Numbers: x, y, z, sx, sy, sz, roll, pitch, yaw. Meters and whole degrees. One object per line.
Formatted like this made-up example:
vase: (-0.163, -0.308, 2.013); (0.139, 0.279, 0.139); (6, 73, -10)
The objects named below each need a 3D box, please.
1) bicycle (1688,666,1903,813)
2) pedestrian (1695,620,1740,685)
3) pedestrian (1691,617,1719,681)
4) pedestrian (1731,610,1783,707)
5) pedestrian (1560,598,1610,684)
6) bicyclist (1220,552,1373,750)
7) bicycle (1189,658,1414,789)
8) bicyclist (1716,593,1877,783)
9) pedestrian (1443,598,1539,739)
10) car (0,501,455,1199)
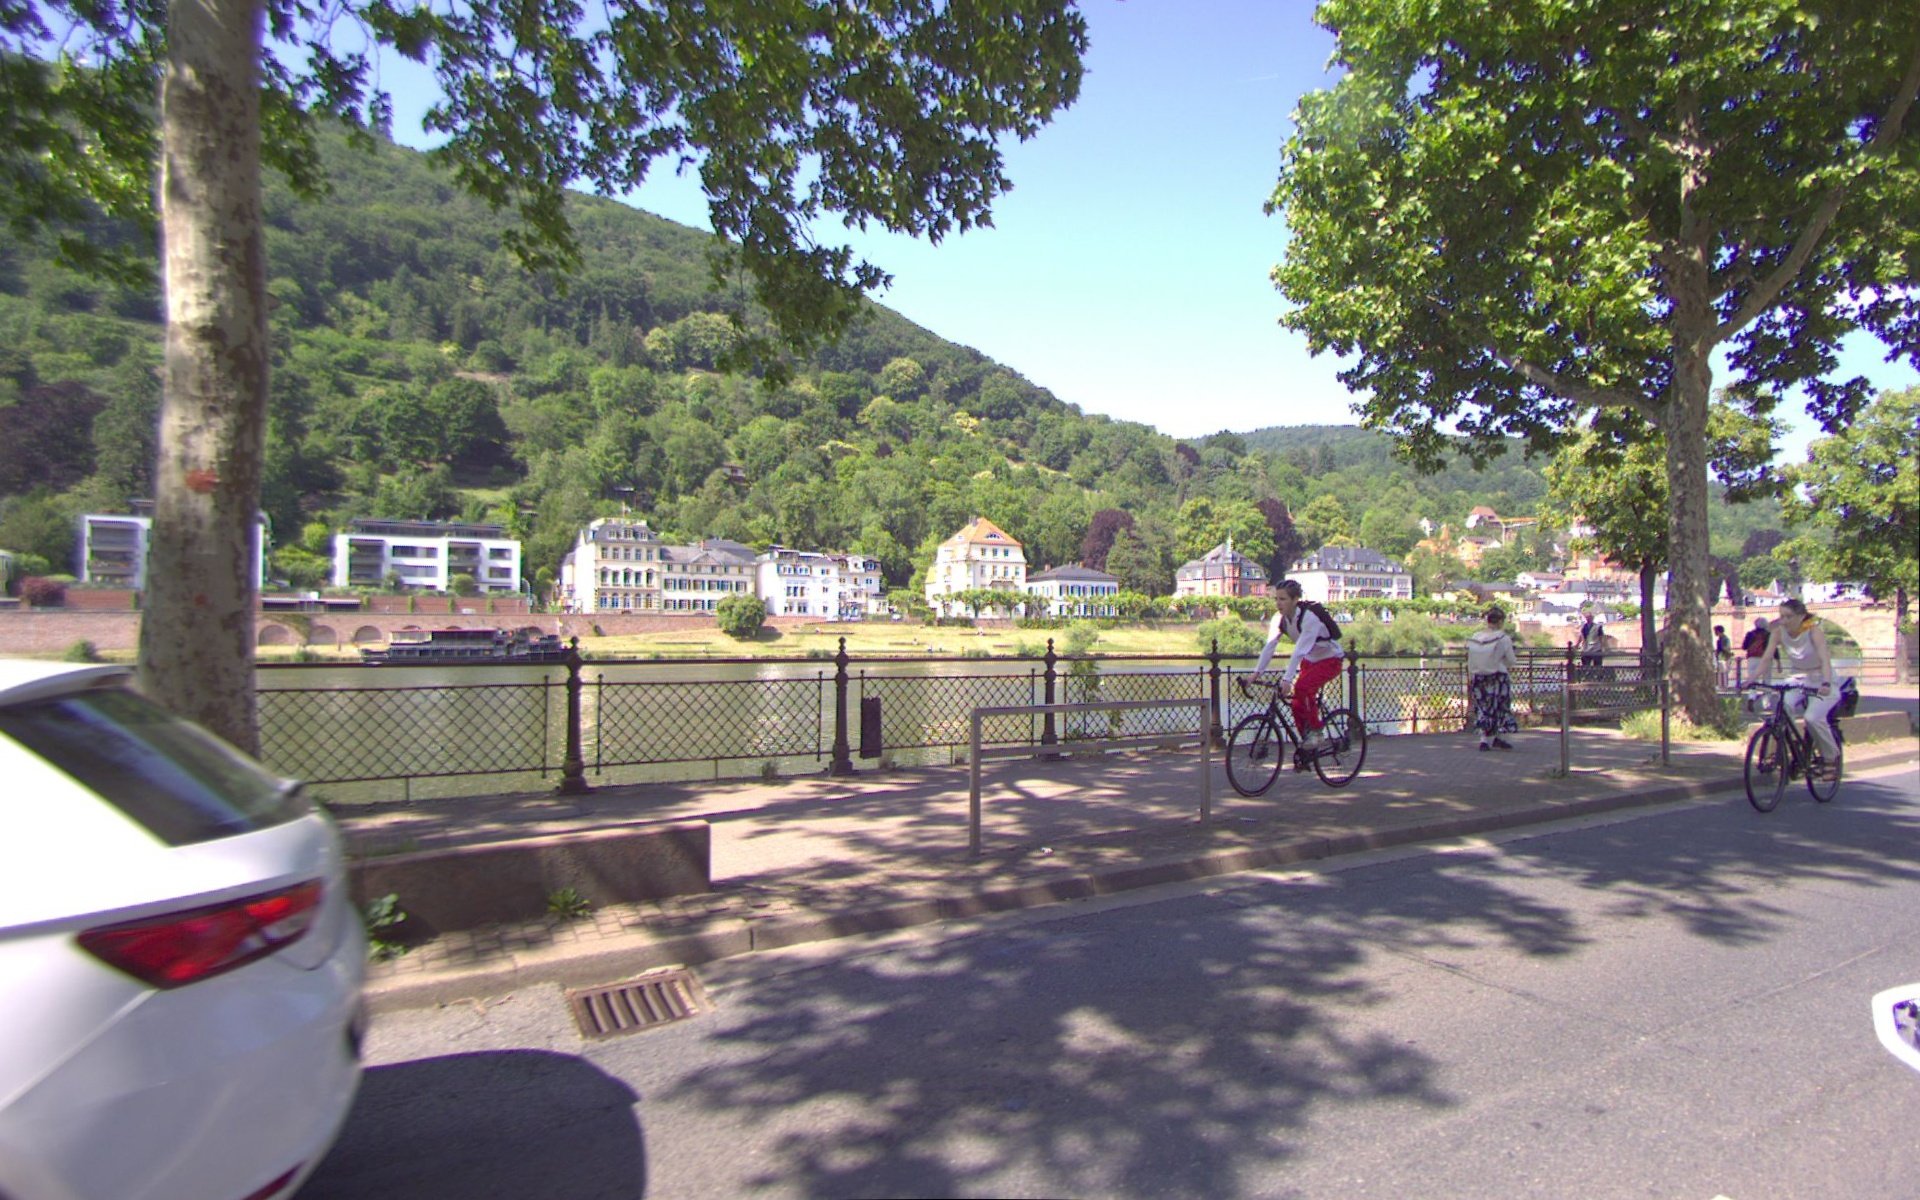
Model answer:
bicycle: (7.327, 1.164, 8.794); (1.928, 1.091, 0.737); (1, 0, -27)
pedestrian: (19.435, 1.334, 25.773); (0.654, 1.637, 0.692); (2, -1, -23)
pedestrian: (18.940, 1.243, 25.546); (0.444, 1.618, 0.413); (2, -1, -23)
pedestrian: (14.620, 1.057, 18.446); (0.648, 1.705, 0.756); (3, 1, 36)
pedestrian: (14.633, 0.953, 23.518); (0.877, 1.971, 0.690); (2, -1, -31)
bicyclist: (2.913, 0.434, 8.706); (1.076, 1.604, 0.716); (2, -1, -29)
bicycle: (2.998, 1.025, 8.768); (1.928, 0.992, 0.751); (1, -1, -28)
bicyclist: (7.345, 0.721, 8.828); (1.012, 1.552, 0.763); (-1, 1, -29)
pedestrian: (6.308, 0.798, 11.943); (0.688, 1.607, 0.758); (2, -1, -31)
car: (-3.111, 0.564, 1.586); (4.044, 1.464, 1.692); (0, 0, -31)
